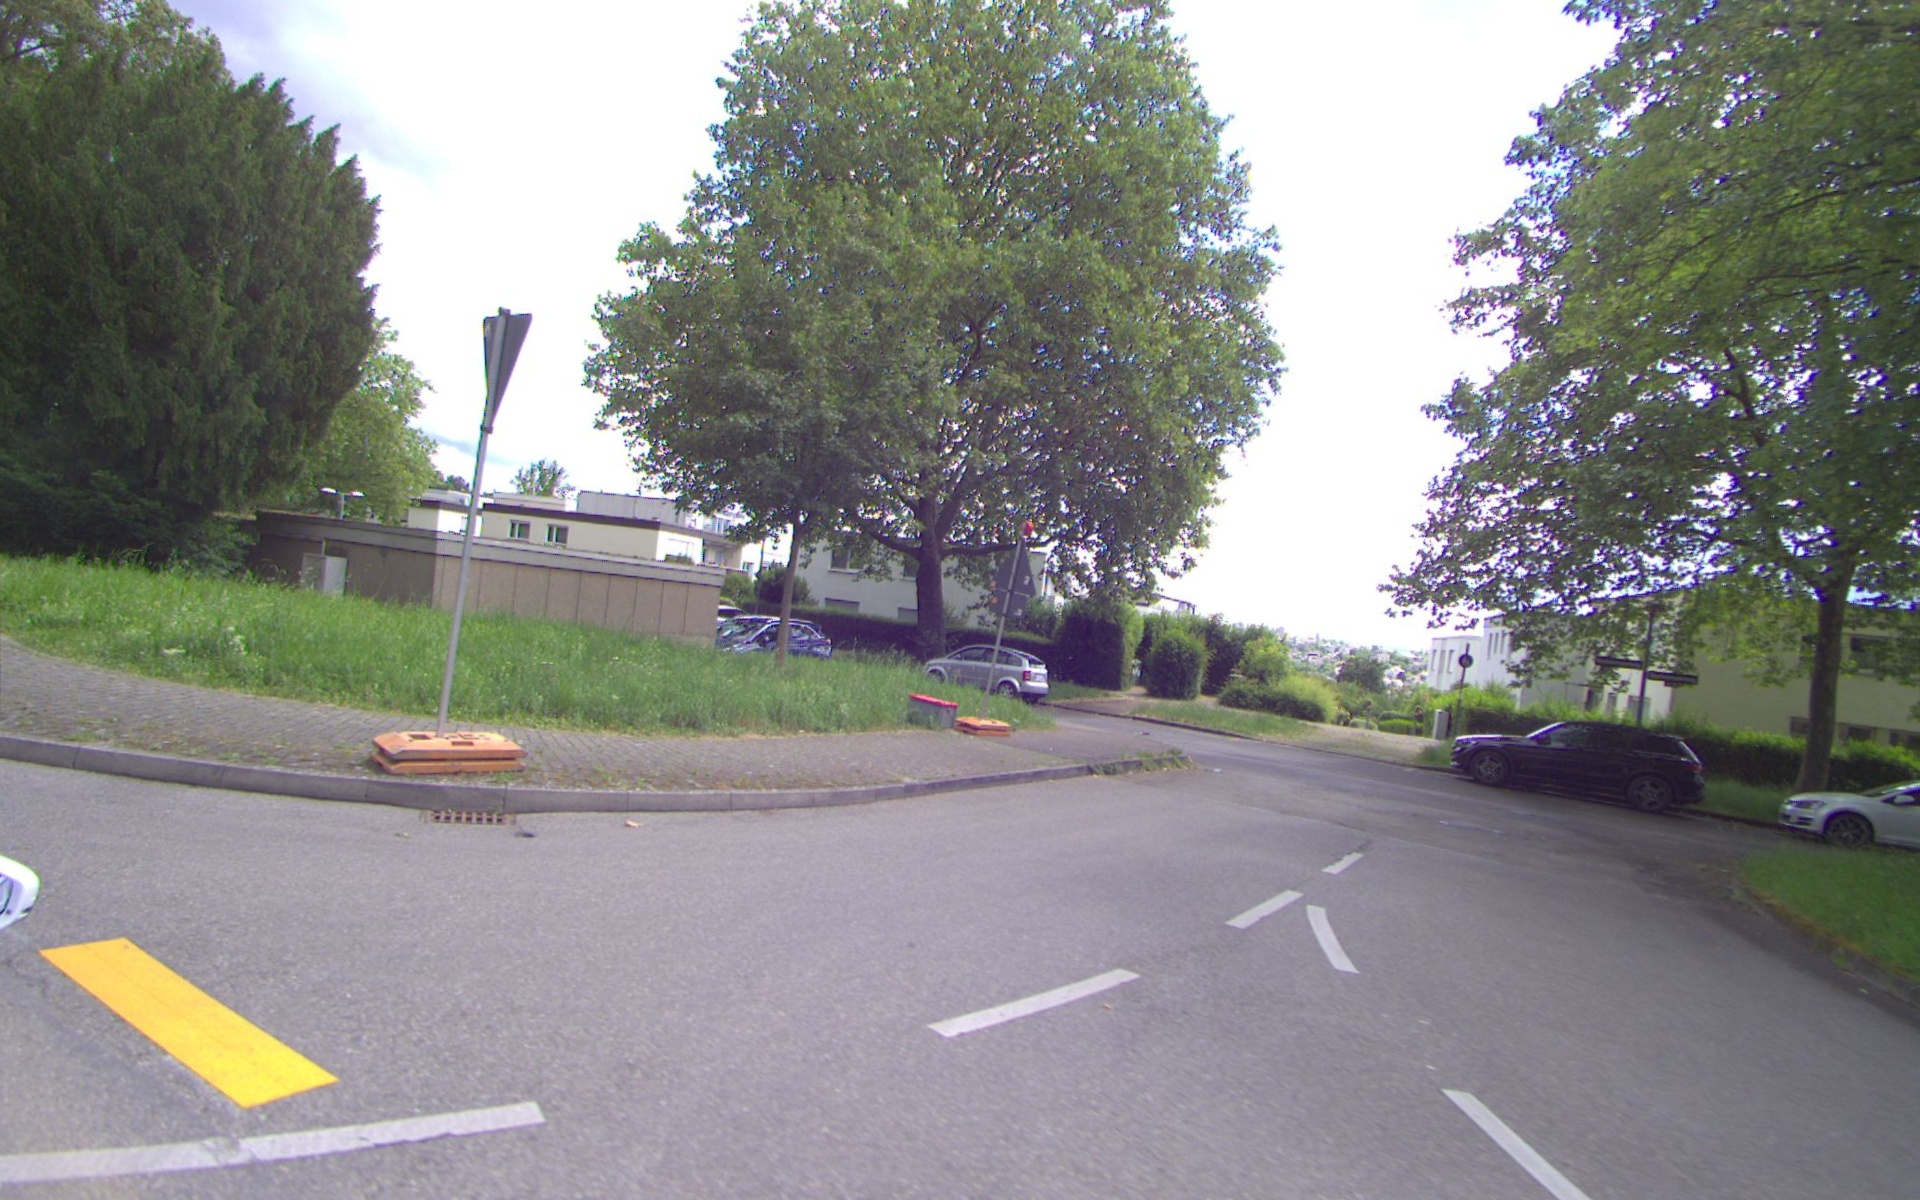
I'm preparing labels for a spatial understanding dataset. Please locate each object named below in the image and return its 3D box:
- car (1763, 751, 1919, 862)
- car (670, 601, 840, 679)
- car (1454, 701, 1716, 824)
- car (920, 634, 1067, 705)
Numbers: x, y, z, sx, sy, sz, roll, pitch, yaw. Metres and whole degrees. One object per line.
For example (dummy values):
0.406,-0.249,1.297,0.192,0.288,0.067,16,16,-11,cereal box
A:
17.527,3.936,18.334,4.173,1.504,1.824,7,0,32,car
-4.619,0.963,23.134,1.780,1.330,3.568,8,-2,30,car
13.024,3.319,21.245,4.371,1.638,1.894,7,0,32,car
0.955,1.989,29.138,3.685,1.487,1.848,7,0,32,car
